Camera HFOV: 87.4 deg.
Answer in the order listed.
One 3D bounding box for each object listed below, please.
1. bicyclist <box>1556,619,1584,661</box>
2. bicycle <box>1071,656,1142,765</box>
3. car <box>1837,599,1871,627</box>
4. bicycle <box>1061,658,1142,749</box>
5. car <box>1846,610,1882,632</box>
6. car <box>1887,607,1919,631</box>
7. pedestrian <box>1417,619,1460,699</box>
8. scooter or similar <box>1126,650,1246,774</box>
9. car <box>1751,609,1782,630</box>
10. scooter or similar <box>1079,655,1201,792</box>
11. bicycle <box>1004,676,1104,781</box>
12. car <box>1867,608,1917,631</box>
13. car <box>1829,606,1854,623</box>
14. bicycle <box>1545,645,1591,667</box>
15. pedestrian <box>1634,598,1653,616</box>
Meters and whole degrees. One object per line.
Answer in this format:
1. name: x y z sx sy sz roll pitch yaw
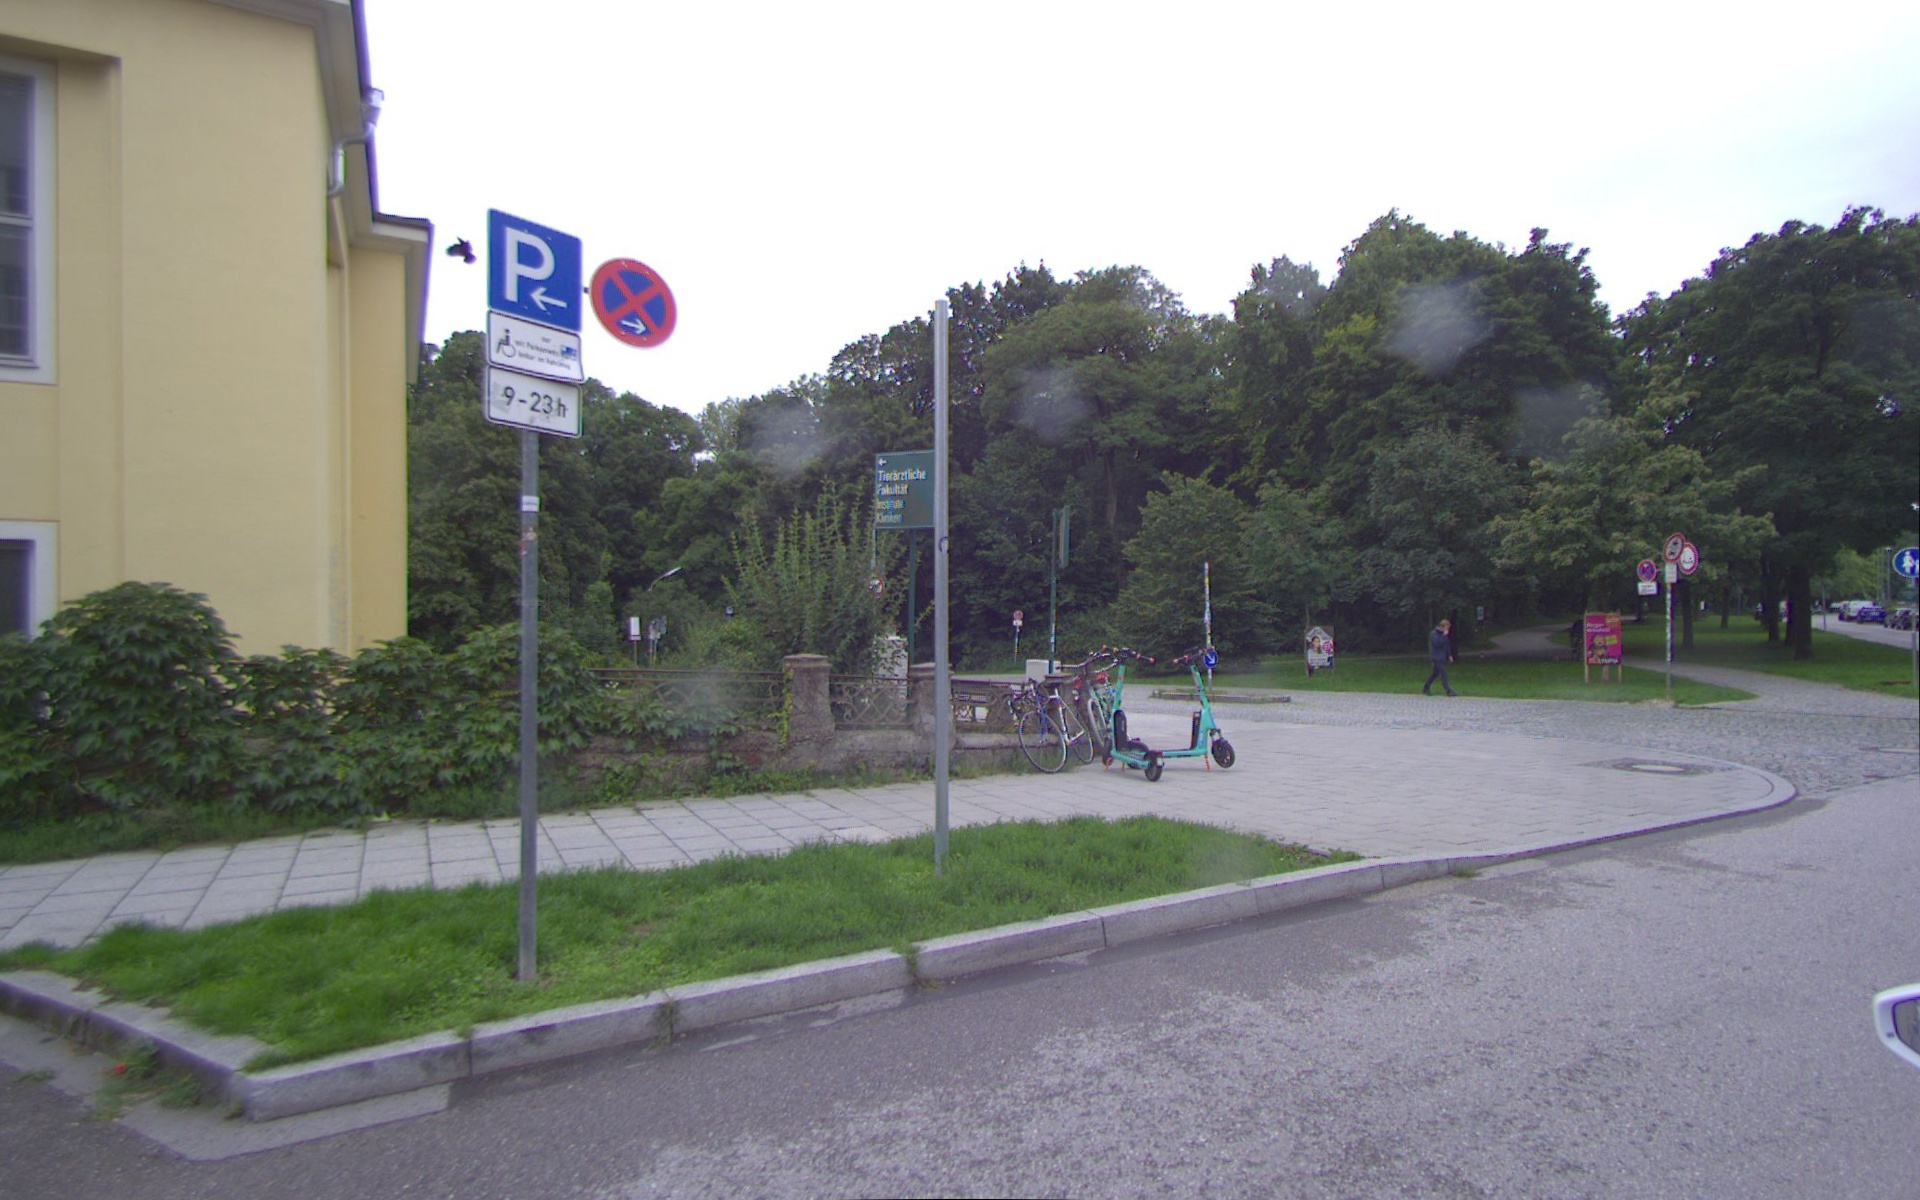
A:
1. bicyclist: 21.850 1.423 35.992 0.617 1.480 0.646 0 -1 6
2. bicycle: 1.760 1.264 11.920 0.641 1.149 1.502 0 -1 16
3. car: 83.689 1.250 94.049 1.851 2.602 4.914 -1 -1 36
4. bicycle: 1.890 1.383 13.658 0.642 1.148 1.737 0 -4 -7
5. car: 77.940 1.835 86.626 1.851 1.840 3.986 -1 -1 36
6. car: 66.222 1.318 69.738 2.148 1.679 4.490 -1 -1 36
7. pedestrian: 10.941 1.334 22.952 0.721 1.775 0.656 -1 -1 41
8. scooter or similar: 2.313 1.147 10.385 1.158 1.235 0.447 -1 -3 9
9. car: 73.053 1.771 91.002 1.968 1.862 3.985 -1 -1 37
10. scooter or similar: 1.734 1.166 9.820 0.594 1.235 1.175 0 -3 -25
11. bicycle: 0.977 1.281 10.249 0.464 0.935 1.200 -1 -1 36
12. car: 69.409 1.455 74.890 2.148 1.679 4.490 -1 -1 36
13. car: 90.621 1.522 103.284 1.624 1.674 4.267 -1 -1 37
14. bicycle: 21.773 2.003 35.994 1.333 0.786 0.440 0 -1 7
15. pedestrian: 74.503 0.746 109.425 1.303 1.971 1.034 -1 -1 -7
